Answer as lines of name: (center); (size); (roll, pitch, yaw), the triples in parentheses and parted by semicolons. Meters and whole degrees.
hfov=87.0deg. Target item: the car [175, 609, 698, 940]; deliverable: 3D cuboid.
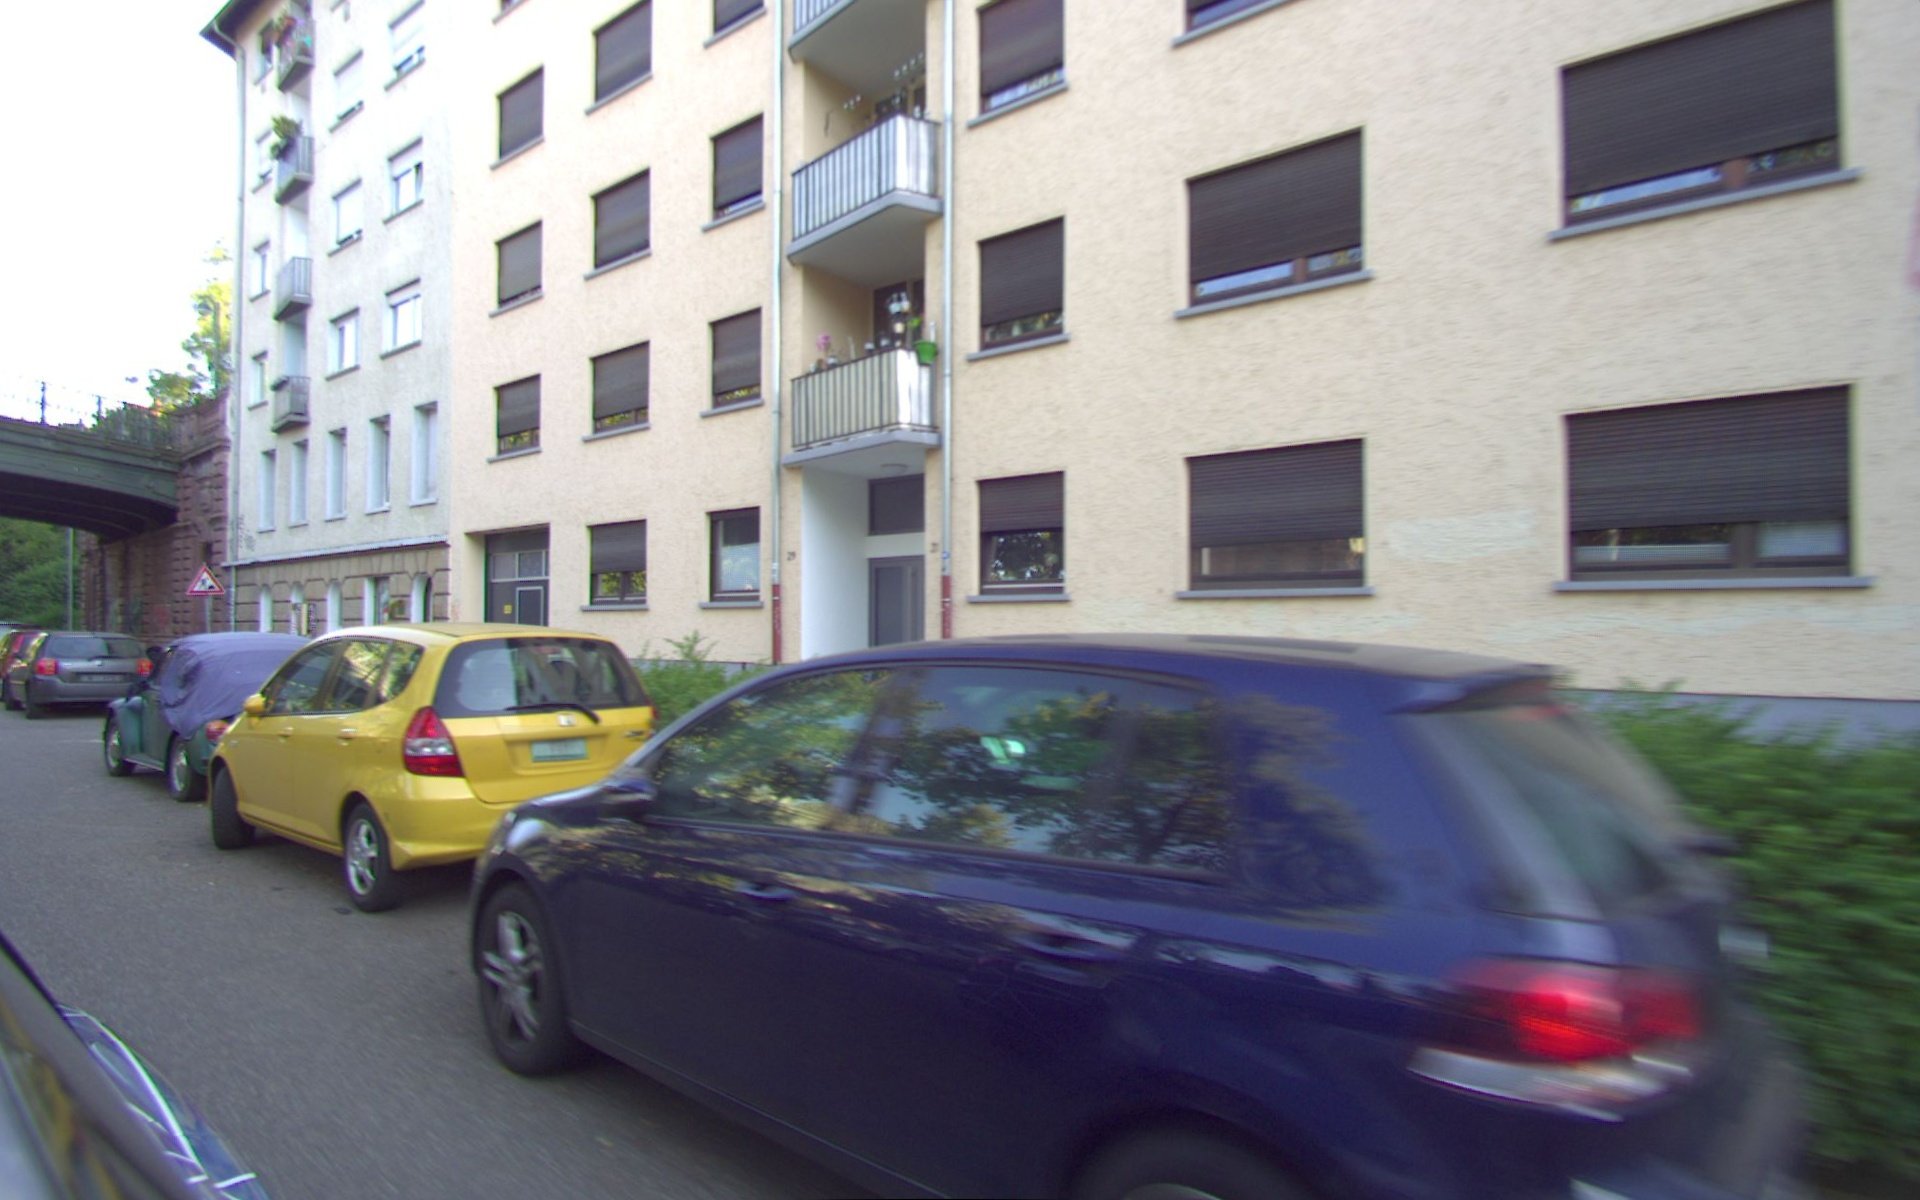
car: (-3.548, 0.868, 6.593); (3.770, 1.537, 1.685); (-1, -3, 40)

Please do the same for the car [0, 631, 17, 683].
car: (-29.458, 1.658, 30.042); (3.998, 1.475, 1.699); (-1, -3, 41)

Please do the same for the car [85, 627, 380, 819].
car: (-7.240, 1.034, 9.935); (3.781, 1.529, 1.550); (-1, -3, 42)

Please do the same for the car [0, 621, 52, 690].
car: (-25.489, 1.403, 26.562); (4.317, 1.721, 1.700); (-1, -3, 38)

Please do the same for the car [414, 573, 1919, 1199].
car: (0.125, 0.792, 2.947); (3.998, 1.490, 1.721); (-2, -3, 42)

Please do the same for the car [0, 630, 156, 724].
car: (-15.866, 1.321, 18.033); (3.998, 1.478, 1.620); (-1, -5, 41)

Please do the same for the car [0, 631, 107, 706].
car: (-19.773, 1.399, 21.649); (3.997, 1.452, 1.672); (-1, -2, 41)
